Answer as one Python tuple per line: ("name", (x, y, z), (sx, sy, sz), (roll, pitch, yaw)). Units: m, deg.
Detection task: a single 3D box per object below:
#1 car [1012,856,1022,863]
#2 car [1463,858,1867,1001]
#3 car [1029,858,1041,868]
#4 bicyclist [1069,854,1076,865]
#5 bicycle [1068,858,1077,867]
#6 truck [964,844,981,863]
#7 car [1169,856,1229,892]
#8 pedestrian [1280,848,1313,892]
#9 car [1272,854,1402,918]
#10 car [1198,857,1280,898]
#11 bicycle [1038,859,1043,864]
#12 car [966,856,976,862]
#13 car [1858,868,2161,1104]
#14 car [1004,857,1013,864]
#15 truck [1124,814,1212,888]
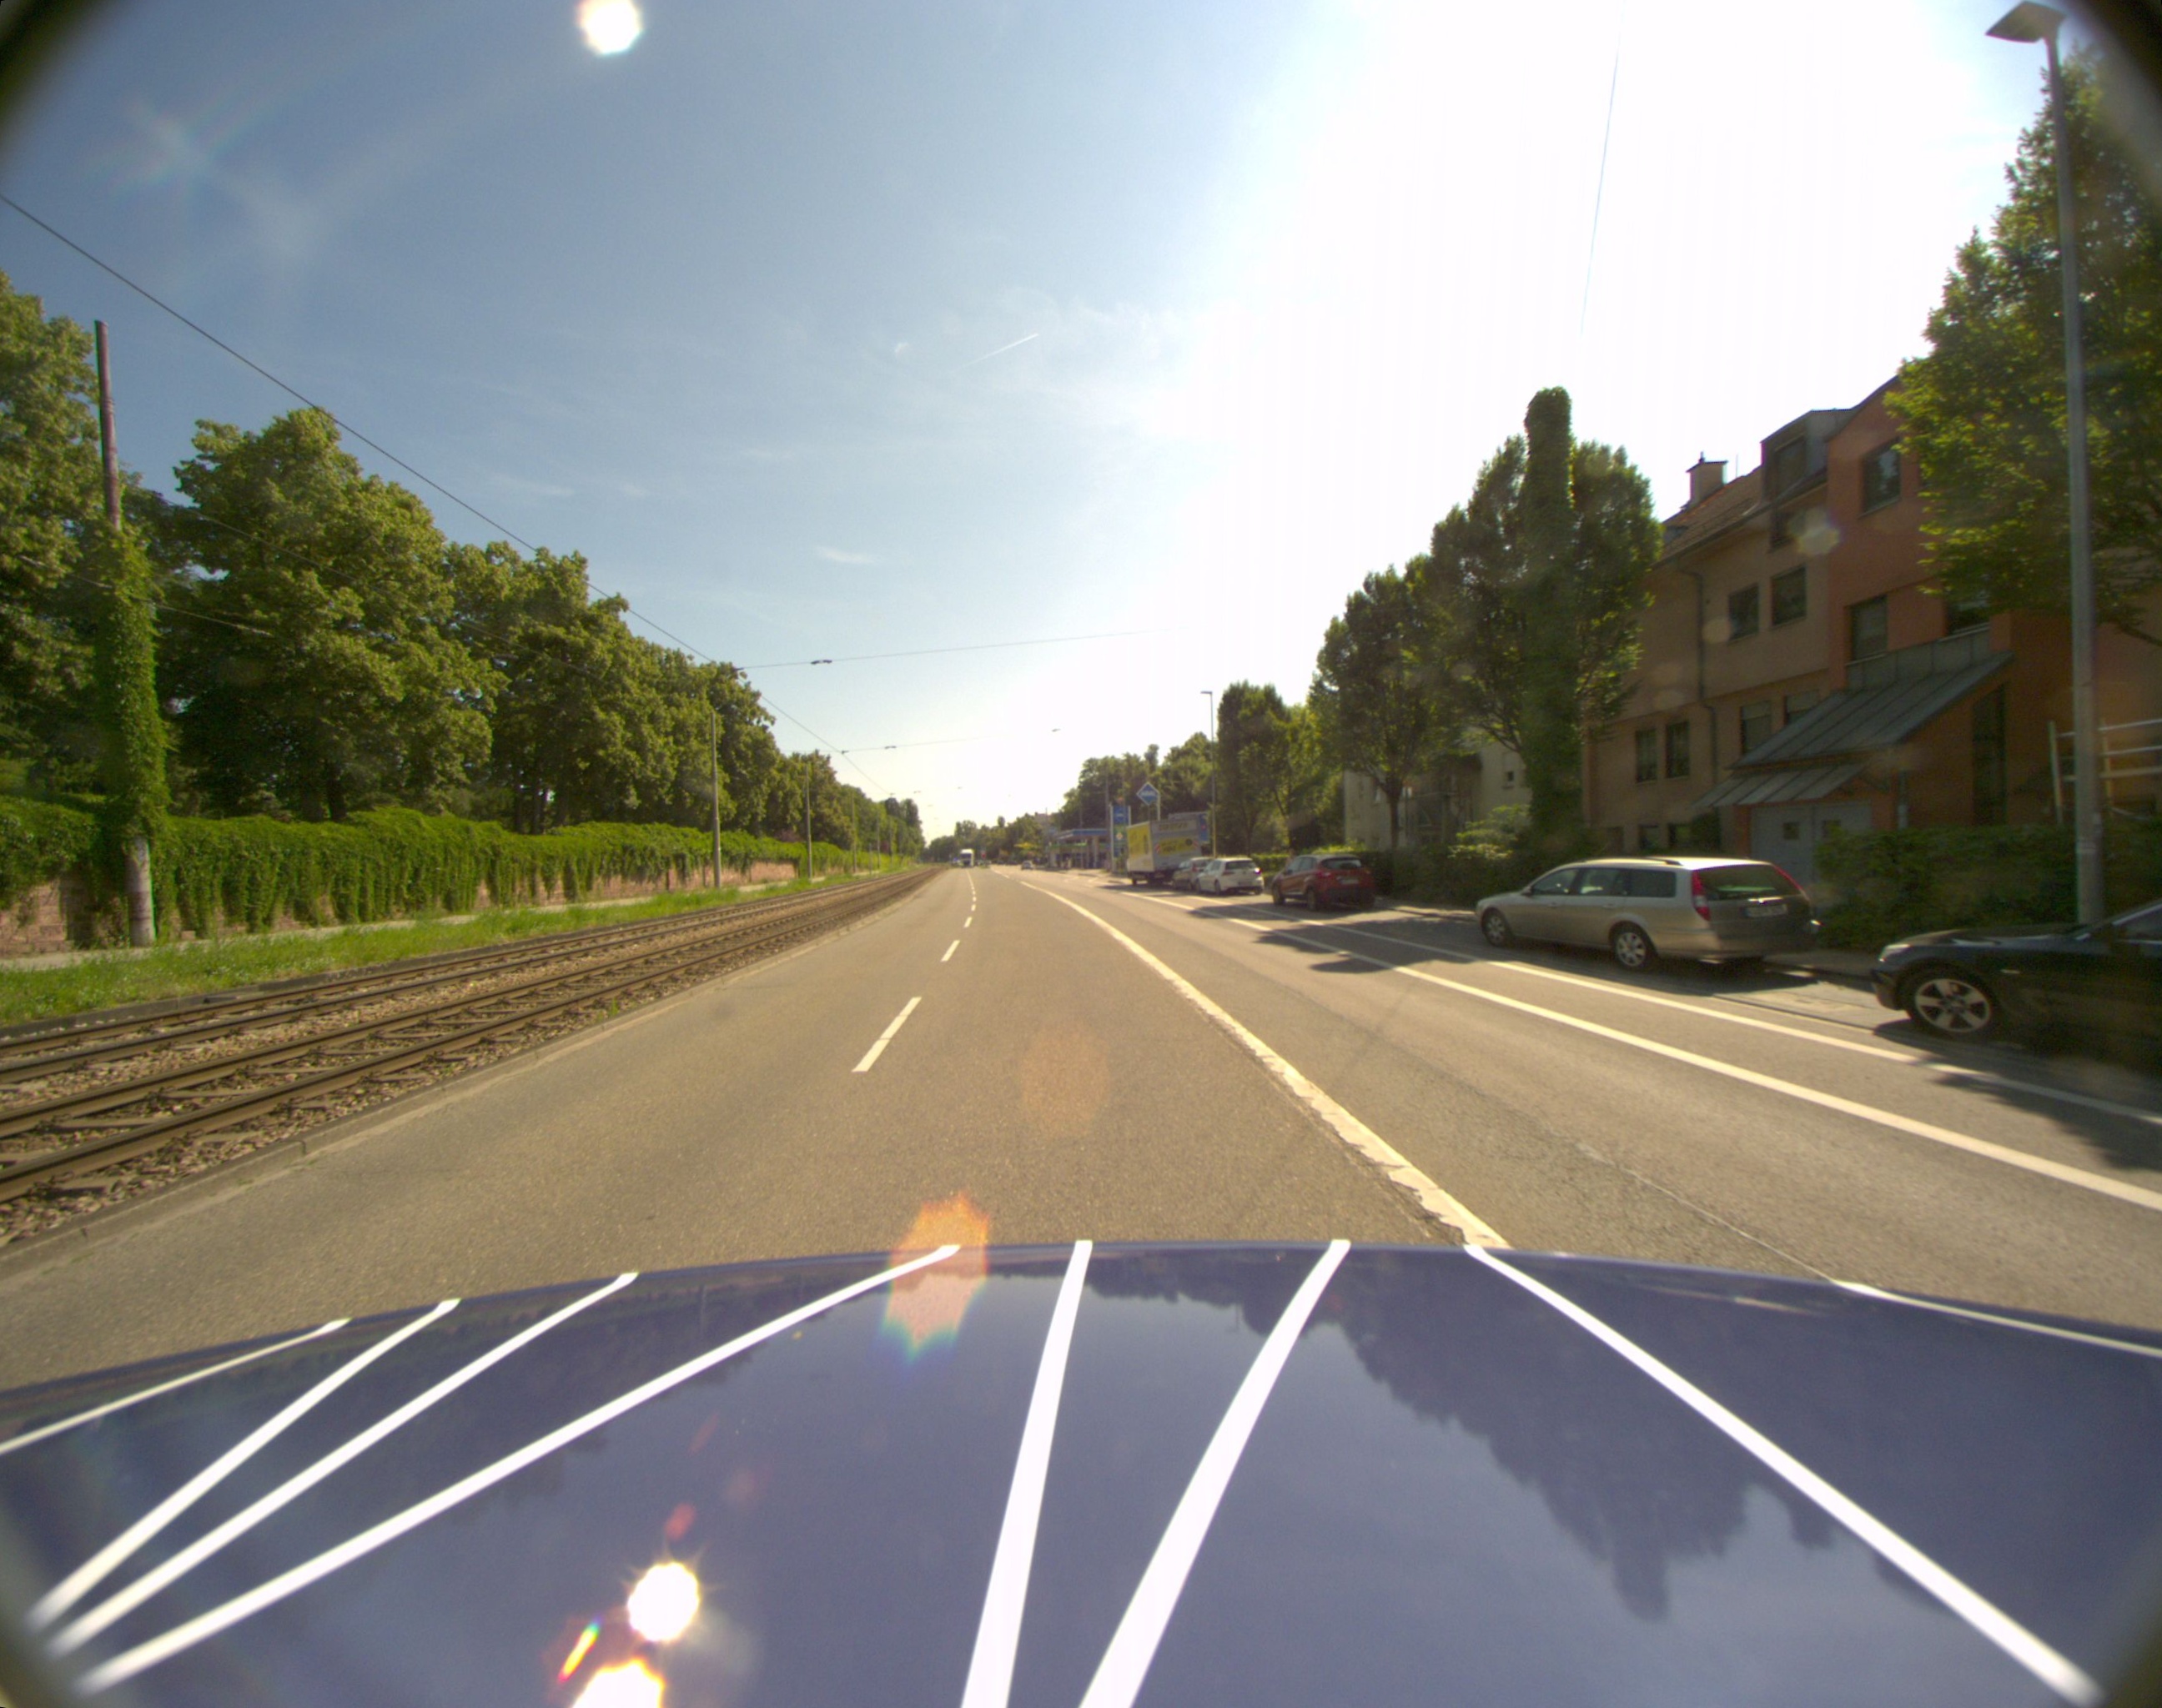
("car", (-17.059, 1.351, 202.536), (1.827, 1.661, 3.997), (-2, -2, -13))
("car", (7.928, 0.864, 11.114), (1.786, 1.475, 4.854), (-3, 1, -6))
("car", (-7.278, 1.381, 119.840), (1.664, 1.412, 4.307), (-1, 0, -5))
("bicyclist", (-1.055, 0.726, 97.029), (0.849, 1.427, 0.832), (-1, 1, -4))
("bicycle", (-1.058, 1.133, 97.075), (0.828, 1.088, 2.771), (-1, 0, -6))
("truck", (-23.582, -0.050, 166.252), (2.854, 3.983, 14.297), (-1, 0, -5))
("car", (5.401, 0.874, 35.126), (1.615, 1.475, 3.633), (-3, 0, -9))
("pedestrian", (8.408, 0.610, 29.728), (0.877, 1.681, 1.054), (-1, 0, -8))
("car", (7.033, 0.815, 21.393), (1.736, 1.542, 4.316), (-3, 0, -7))
("car", (6.070, 0.853, 29.658), (1.763, 1.420, 4.278), (-3, 0, -7))
("bicycle", (-9.143, 1.637, 170.035), (0.940, 1.168, 2.210), (-1, 0, -7))
("car", (-27.742, 1.253, 191.169), (1.933, 1.593, 4.462), (-2, 0, -16))
("car", (8.159, 0.909, 4.646), (1.728, 1.466, 4.712), (-3, 0, -5))
("car", (-20.750, 1.923, 217.155), (1.827, 1.661, 3.997), (-2, -2, -13))
("truck", (4.546, -0.117, 41.793), (2.675, 3.509, 8.584), (-3, 0, -7))
